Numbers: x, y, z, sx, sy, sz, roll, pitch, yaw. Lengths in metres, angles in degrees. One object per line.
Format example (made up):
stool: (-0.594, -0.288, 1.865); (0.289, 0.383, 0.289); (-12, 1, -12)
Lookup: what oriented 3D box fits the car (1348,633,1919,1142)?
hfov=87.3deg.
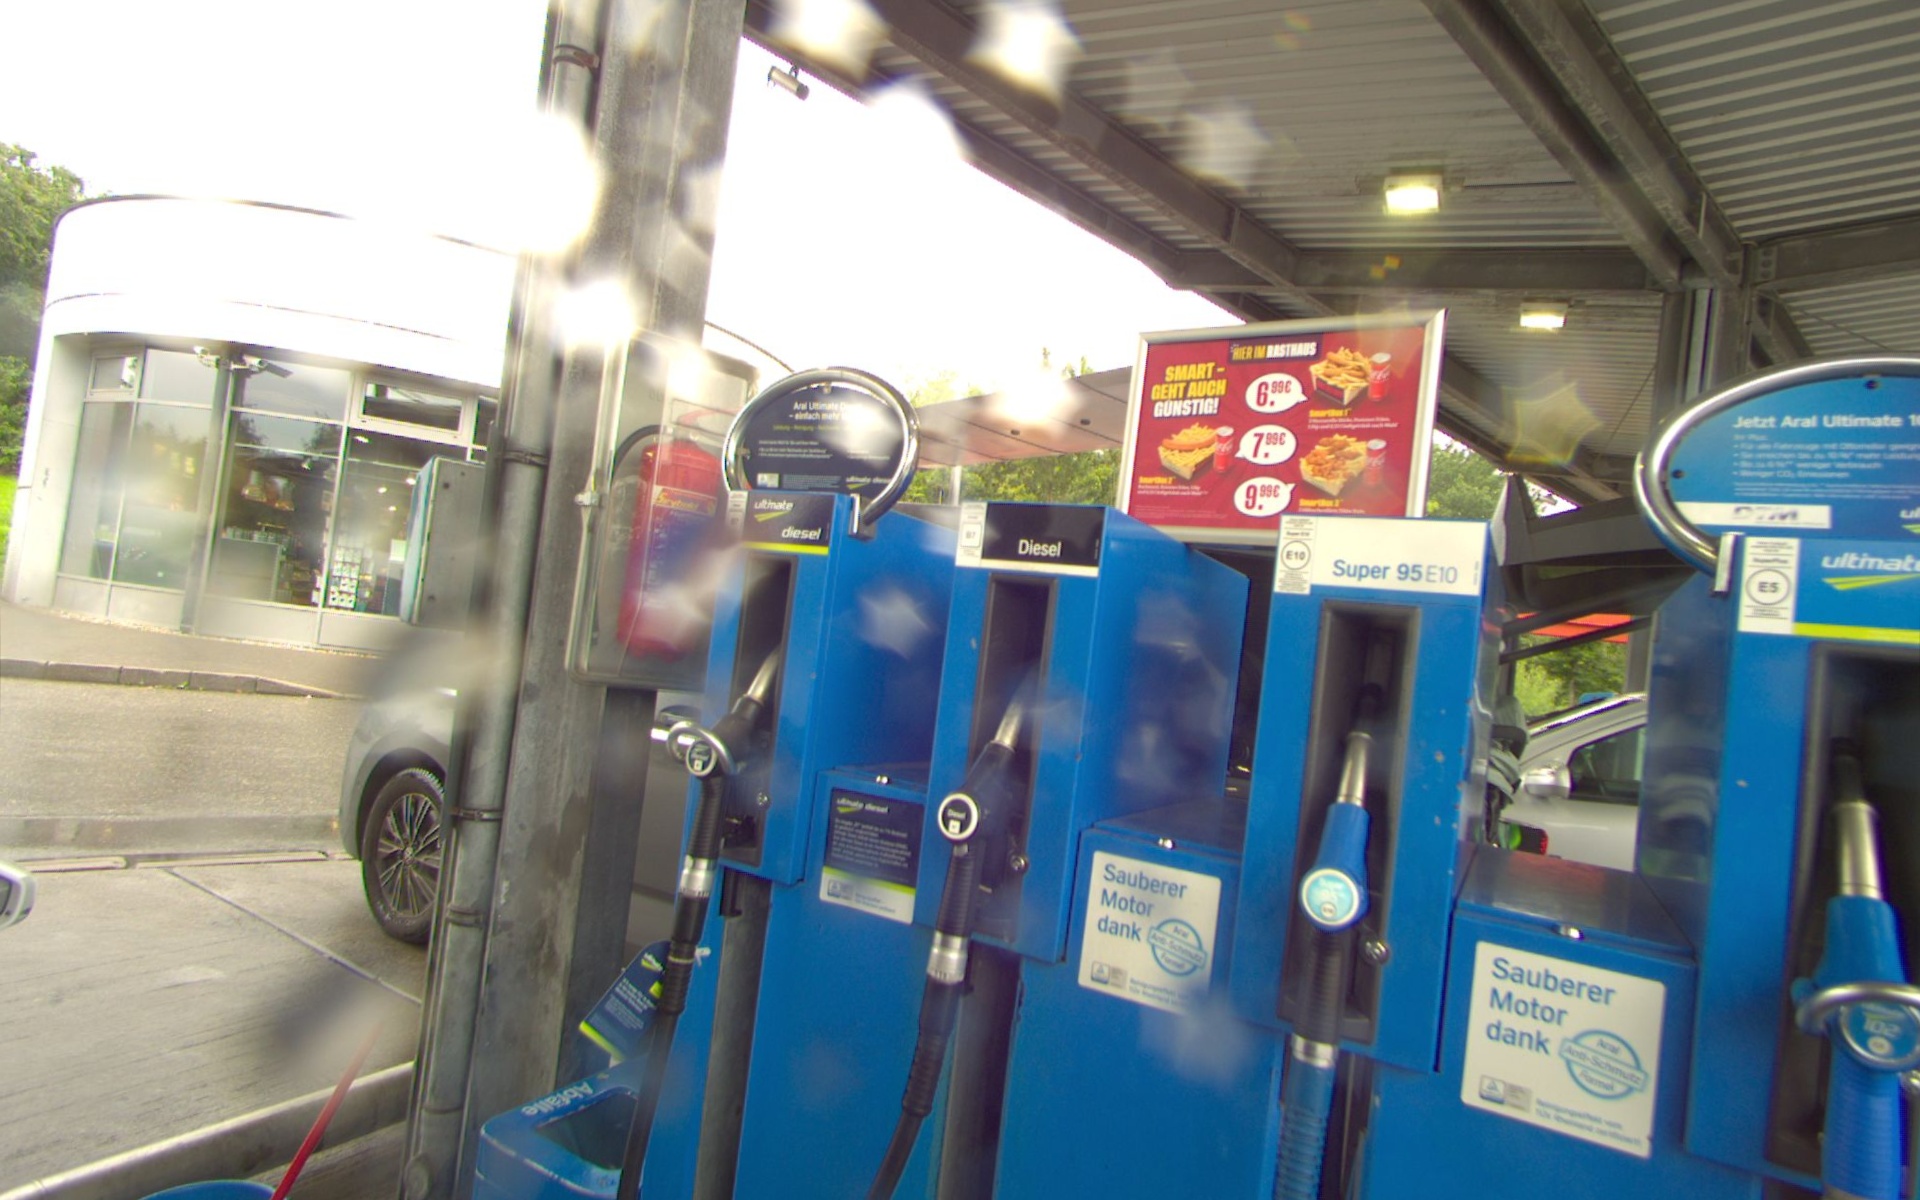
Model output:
car: (4.475, 1.371, 4.830); (4.464, 1.819, 1.865); (6, -2, 32)

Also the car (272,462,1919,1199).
car: (-0.162, 0.646, 3.688); (5.055, 1.819, 1.865); (6, -2, 32)
